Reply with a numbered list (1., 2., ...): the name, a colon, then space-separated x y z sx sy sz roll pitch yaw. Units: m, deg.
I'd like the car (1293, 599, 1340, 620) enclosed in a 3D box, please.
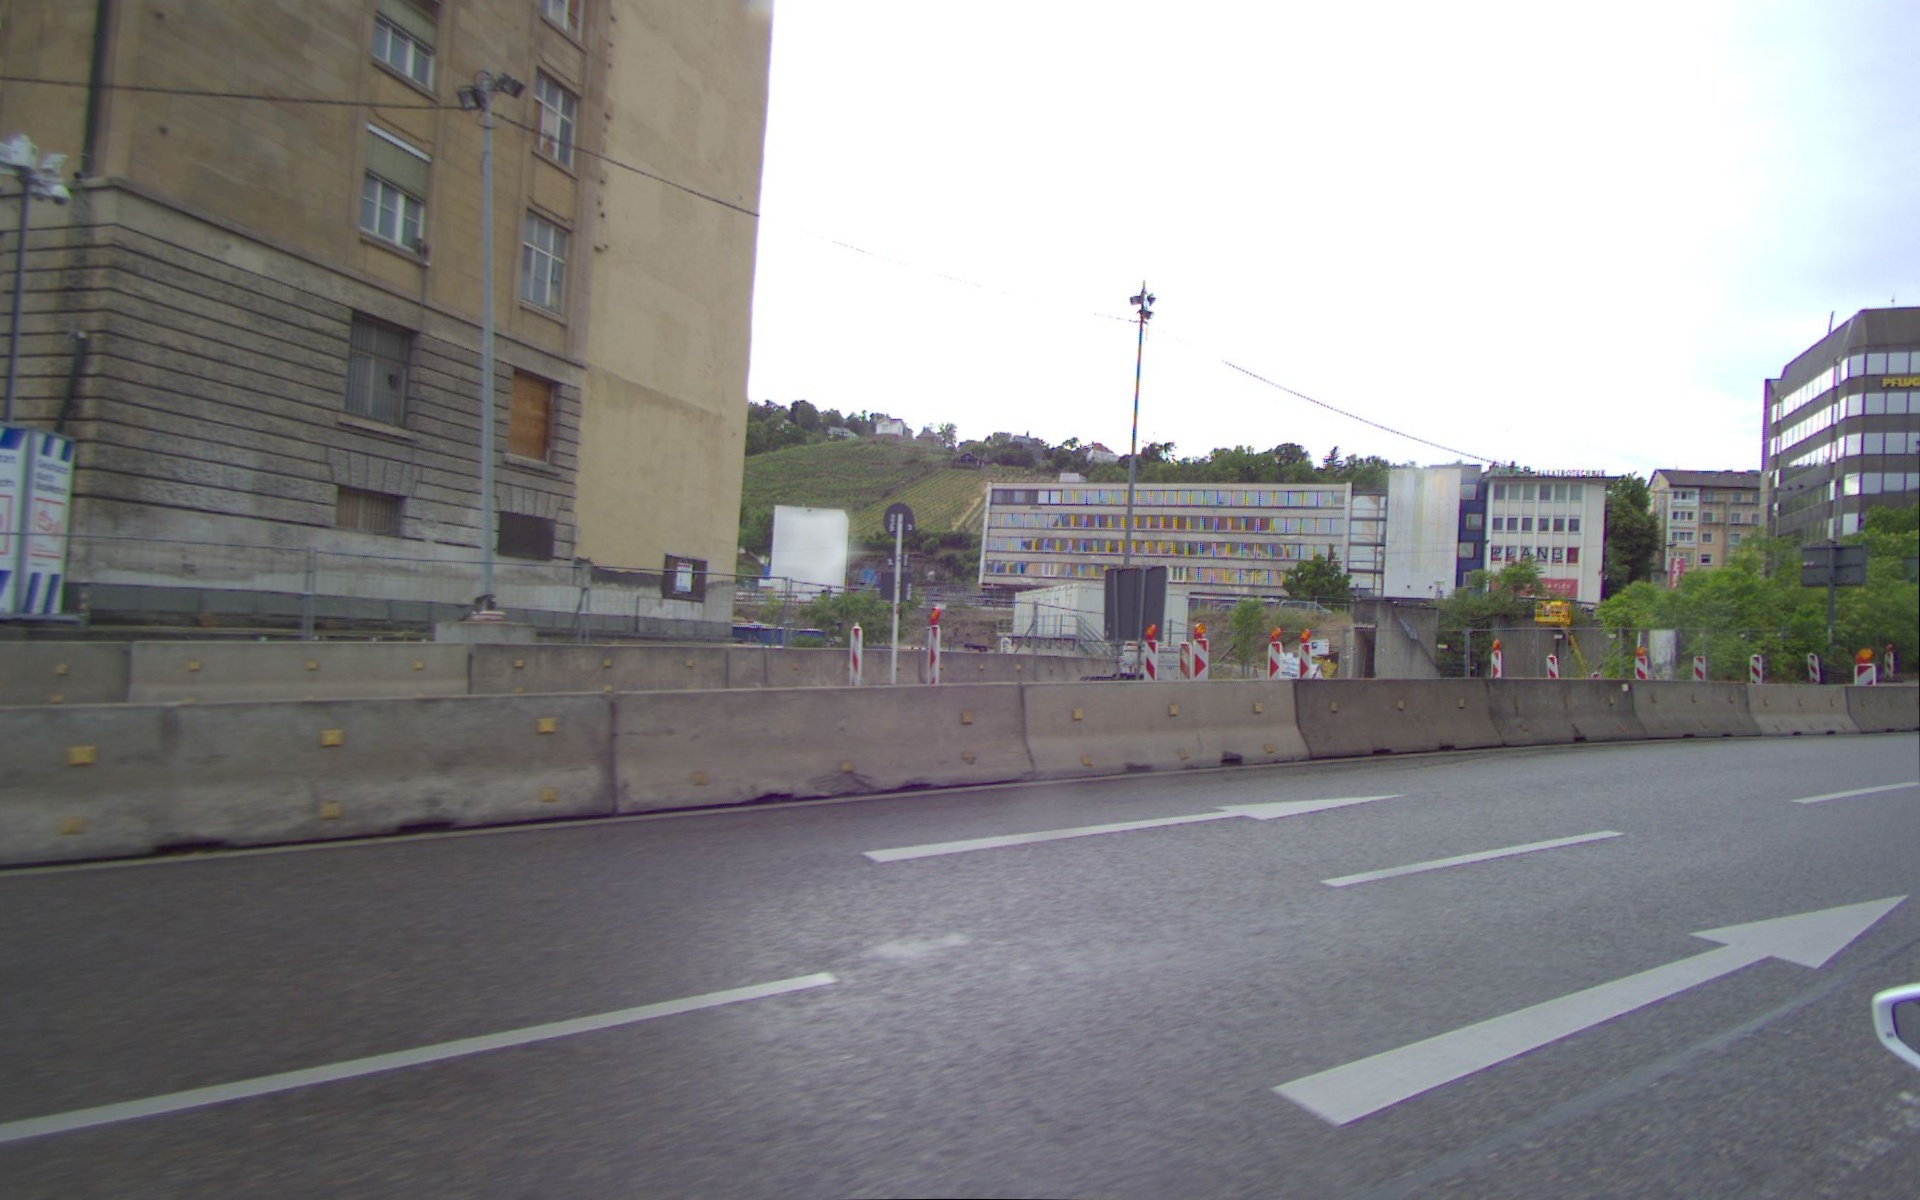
1. car: 33.240 0.914 93.625 3.923 1.728 2.000 2 -2 23
